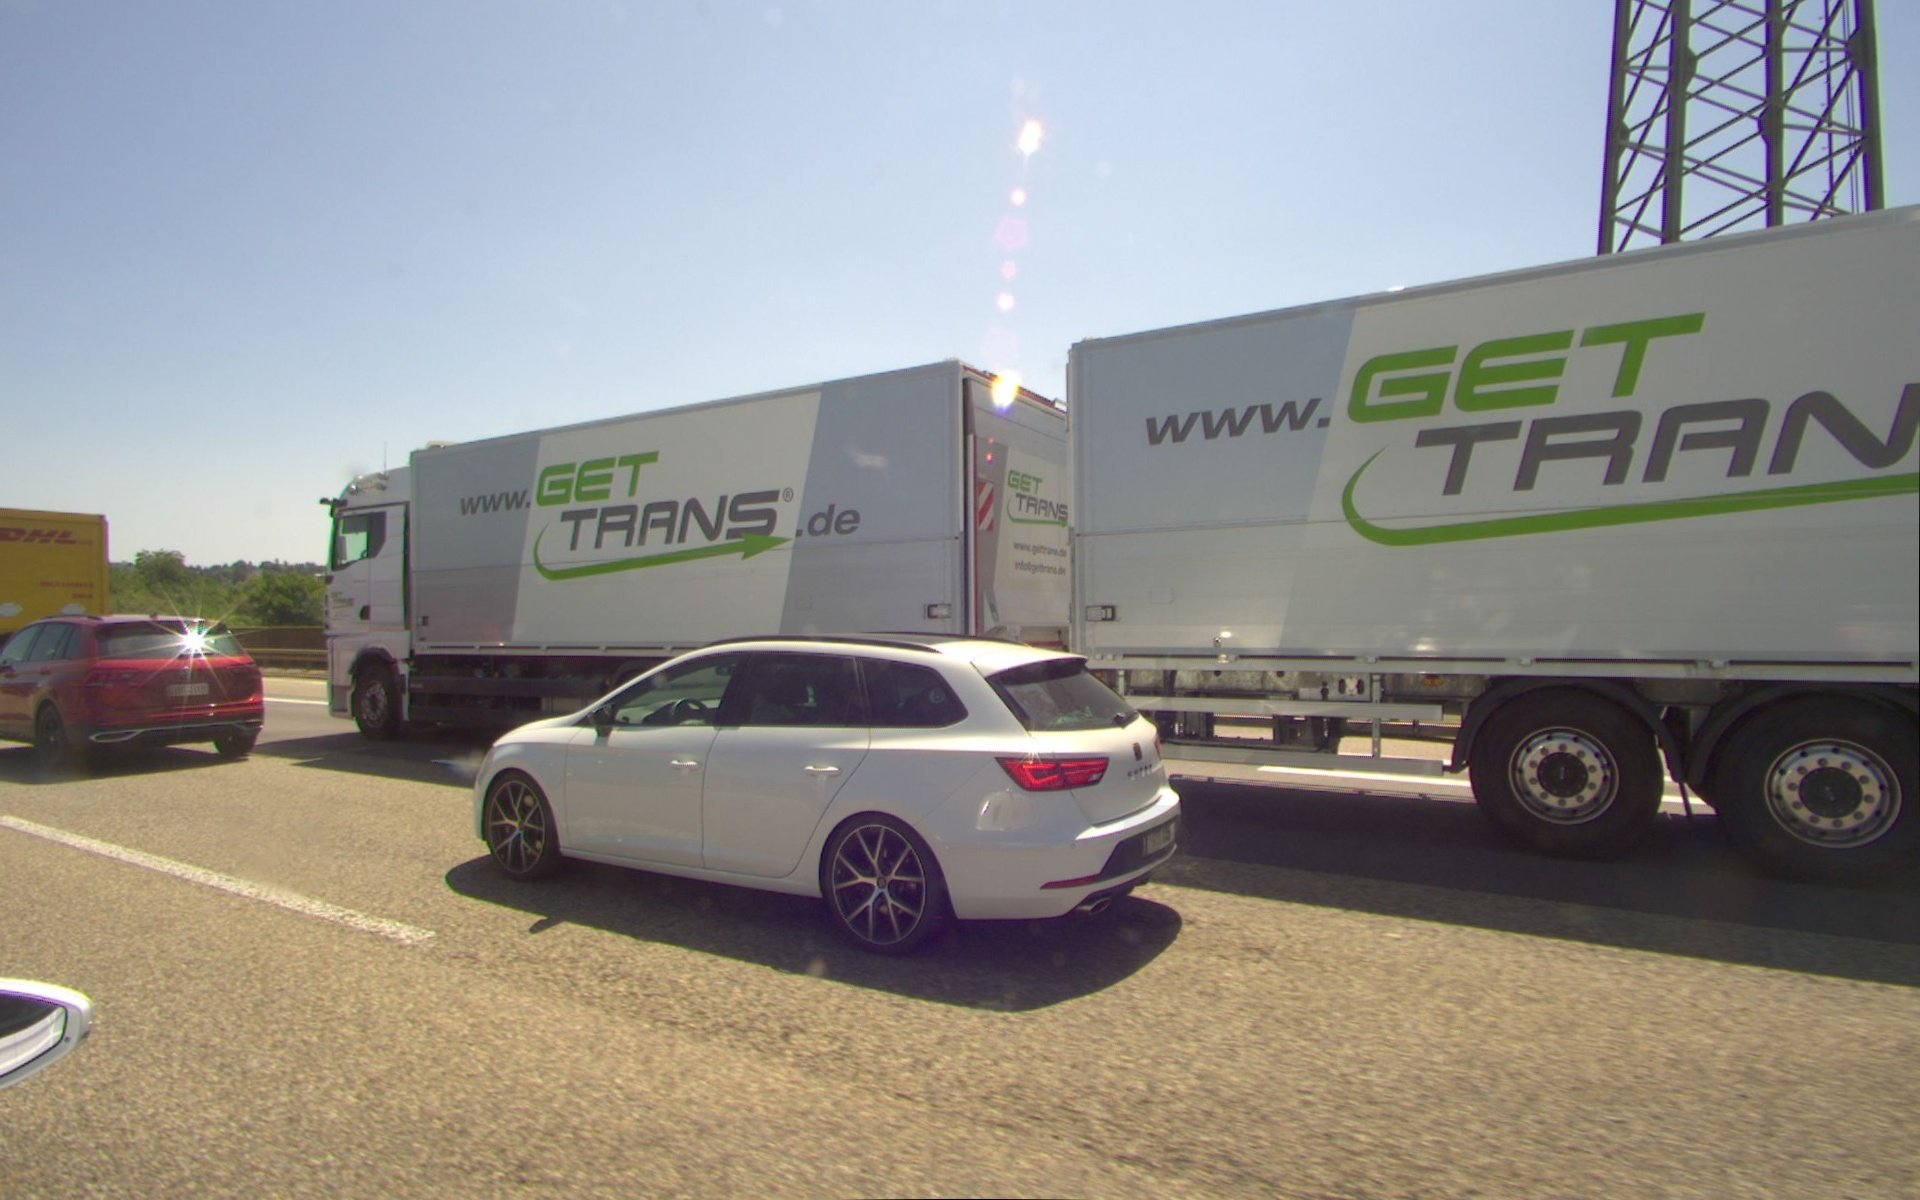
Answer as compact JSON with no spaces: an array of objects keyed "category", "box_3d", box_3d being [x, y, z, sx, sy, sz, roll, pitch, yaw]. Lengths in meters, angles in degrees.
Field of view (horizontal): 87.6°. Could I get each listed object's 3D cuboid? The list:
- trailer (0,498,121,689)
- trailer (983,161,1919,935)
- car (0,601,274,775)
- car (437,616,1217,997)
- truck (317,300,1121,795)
[{"category":"trailer","box_3d":[-24.157,-0.023,24.573,8.848,4.140,2.679,-1,-2,31]},{"category":"trailer","box_3d":[4.371,-0.199,7.115,8.096,3.941,2.894,-1,-2,32]},{"category":"car","box_3d":[-9.949,0.927,11.615,4.222,1.700,1.706,-2,-1,31]},{"category":"car","box_3d":[-0.923,0.843,5.769,4.364,1.470,1.706,0,-1,31]},{"category":"truck","box_3d":[-3.503,-0.280,12.015,10.456,3.984,2.848,-1,-2,32]}]
